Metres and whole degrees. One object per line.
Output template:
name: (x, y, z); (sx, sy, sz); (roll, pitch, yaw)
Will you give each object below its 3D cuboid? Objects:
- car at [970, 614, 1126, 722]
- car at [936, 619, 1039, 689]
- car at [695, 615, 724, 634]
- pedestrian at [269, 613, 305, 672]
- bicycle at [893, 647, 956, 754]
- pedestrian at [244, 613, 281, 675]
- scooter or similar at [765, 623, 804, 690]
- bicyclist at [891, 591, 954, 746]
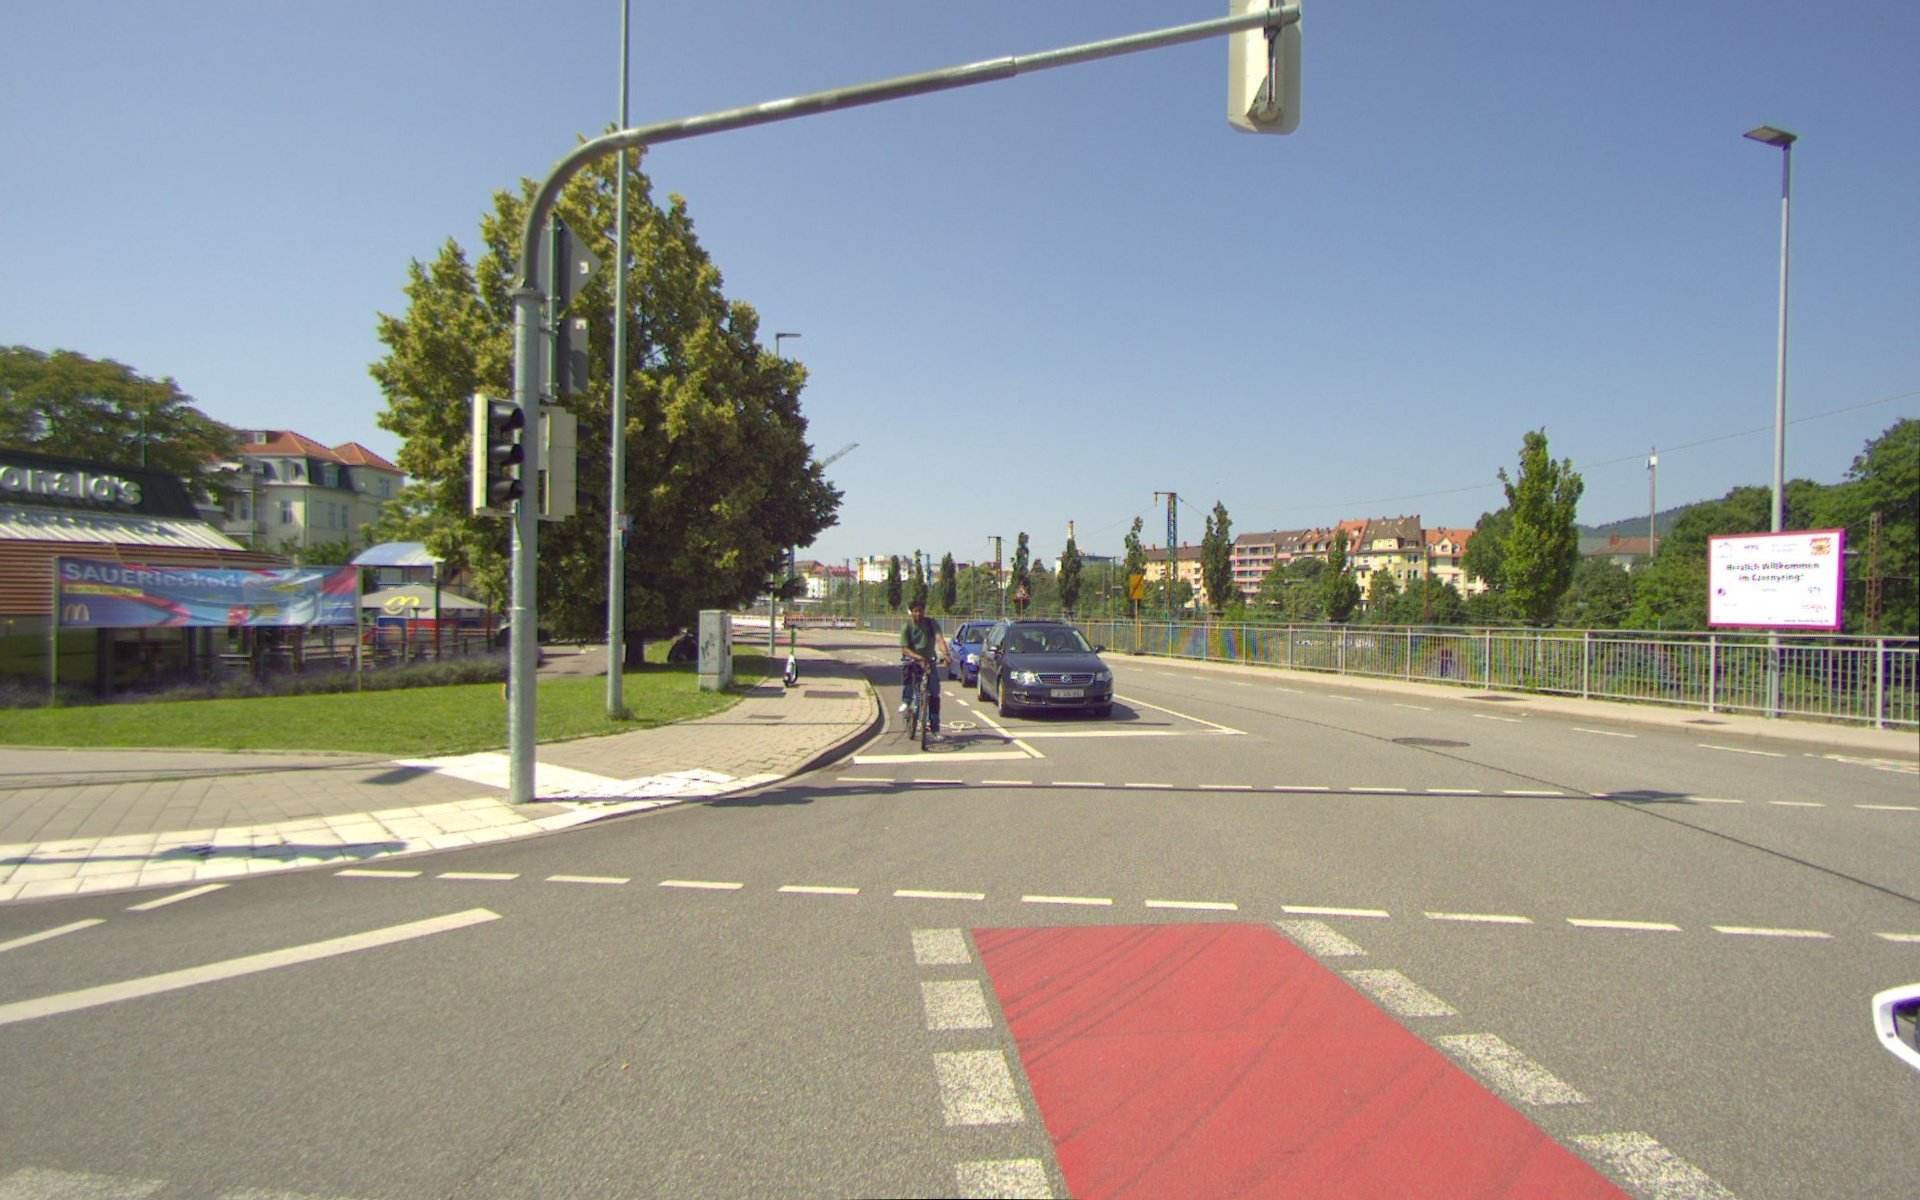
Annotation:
car: (1.311, 1.027, 16.978); (1.752, 1.516, 4.718); (0, 0, -6)
car: (0.534, 1.174, 23.082); (1.631, 1.399, 3.993); (0, 0, -10)
car: (-24.309, 2.334, 97.354); (1.929, 1.718, 4.585); (0, 0, -24)
pedestrian: (-23.488, 1.463, 35.056); (0.821, 2.040, 0.751); (0, 0, -15)
bicycle: (-0.449, 1.183, 12.251); (0.686, 1.119, 1.754); (-1, 0, -3)
pedestrian: (-23.605, 1.481, 33.999); (0.821, 2.040, 0.751); (0, 0, -15)
scooter or similar: (-3.348, 1.059, 19.195); (0.463, 1.200, 1.366); (0, 0, 2)
bicyclist: (-0.463, 0.806, 12.265); (0.699, 1.813, 0.808); (-1, 0, -3)
